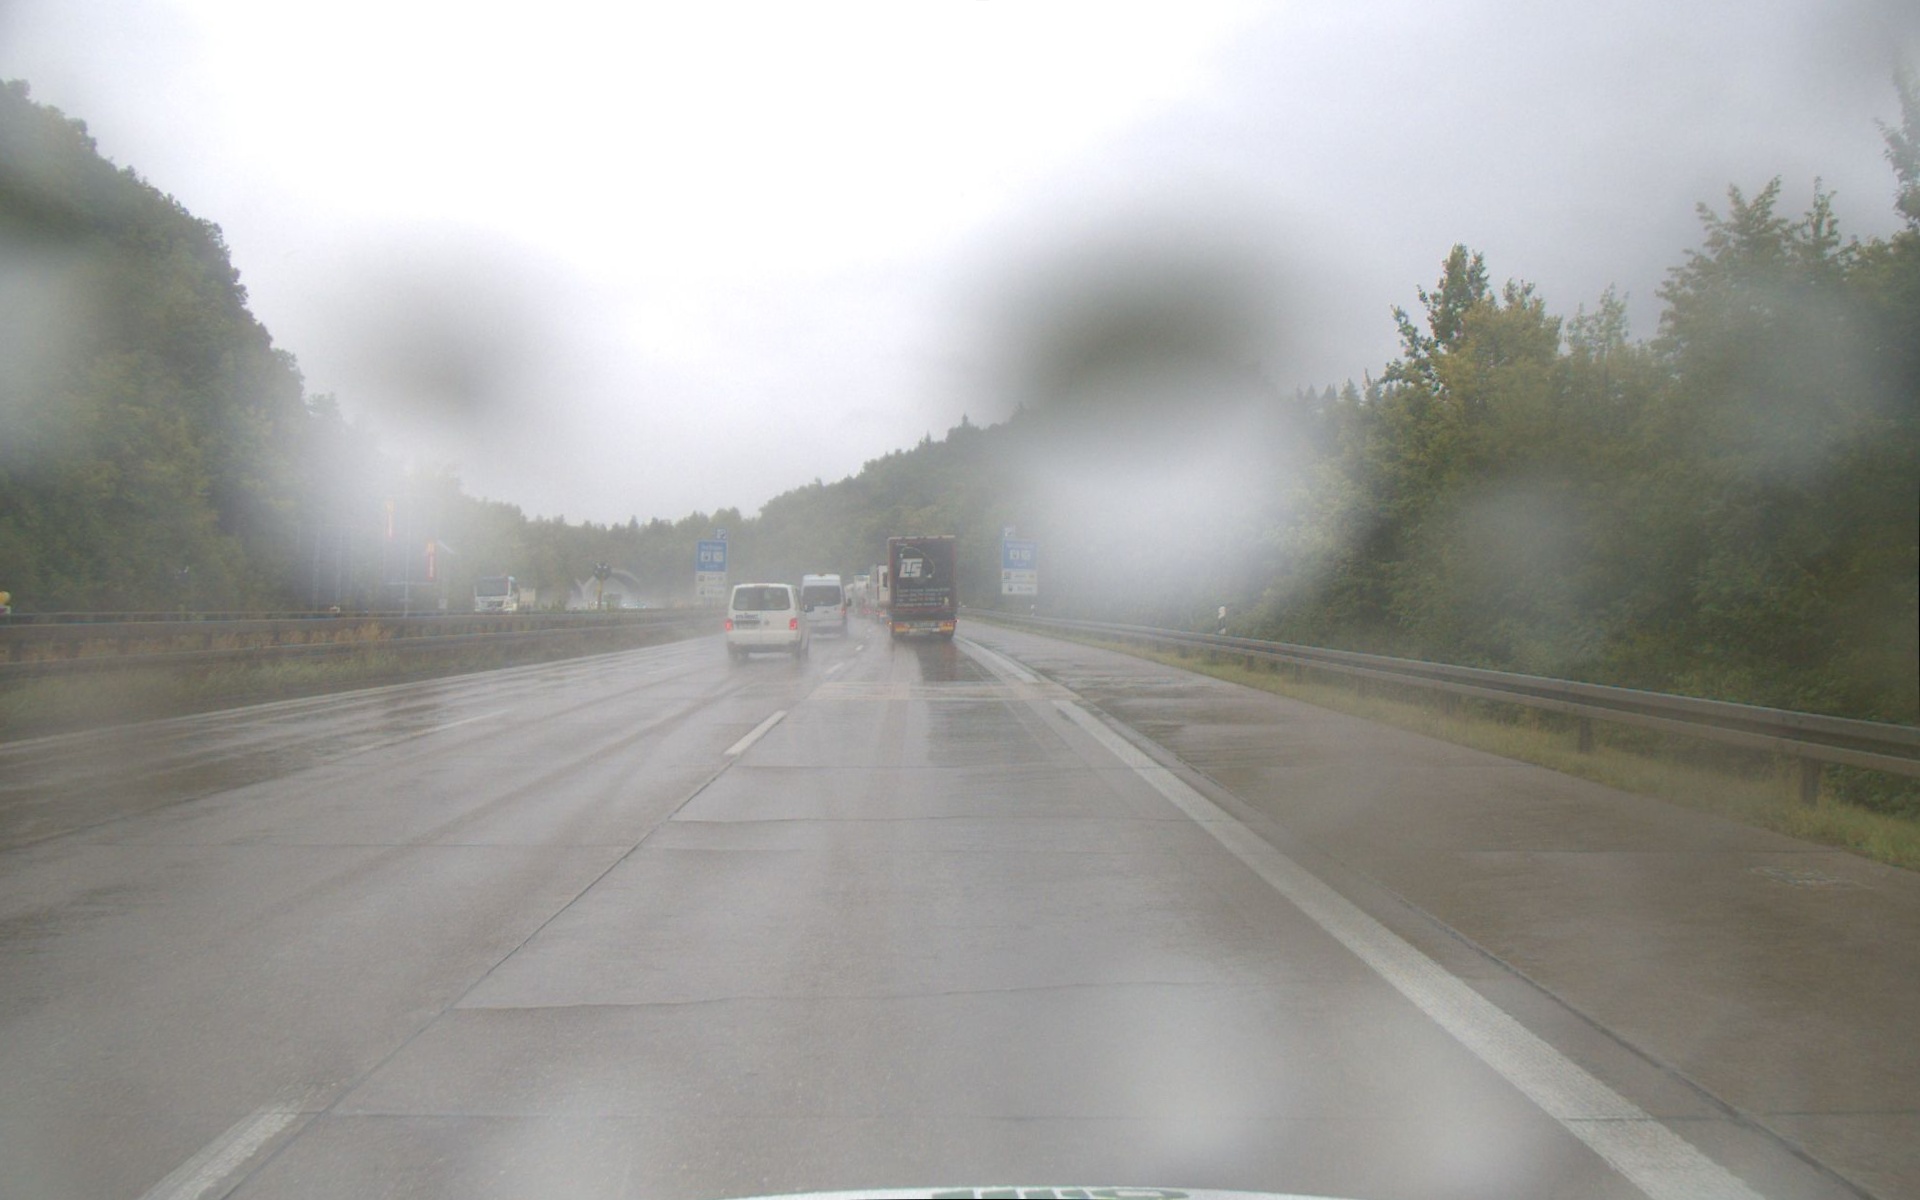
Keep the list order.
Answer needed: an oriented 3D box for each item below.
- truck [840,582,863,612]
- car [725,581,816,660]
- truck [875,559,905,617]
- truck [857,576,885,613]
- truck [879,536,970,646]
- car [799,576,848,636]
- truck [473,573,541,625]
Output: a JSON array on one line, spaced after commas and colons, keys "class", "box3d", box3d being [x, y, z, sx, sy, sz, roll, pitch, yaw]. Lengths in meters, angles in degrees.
[{"class": "truck", "box3d": [-11.716, -0.336, 178.875, 1.956, 3.225, 6.721, 0, 0, -8]}, {"class": "car", "box3d": [-4.871, 0.506, 43.066, 1.861, 1.927, 5.041, 1, 0, -1]}, {"class": "truck", "box3d": [-4.811, -0.816, 114.323, 1.953, 3.872, 6.731, 0, 0, -2]}, {"class": "truck", "box3d": [-8.018, -0.521, 148.398, 1.956, 3.225, 6.721, 0, 0, -8]}, {"class": "truck", "box3d": [-1.460, -0.486, 66.709, 3.317, 4.037, 8.665, -2, 2, -2]}, {"class": "car", "box3d": [-5.769, 0.227, 69.360, 1.863, 2.374, 5.243, 1, 0, -6]}, {"class": "truck", "box3d": [-28.418, -0.055, 104.020, 2.251, 3.071, 7.920, 1, 0, -1]}]
